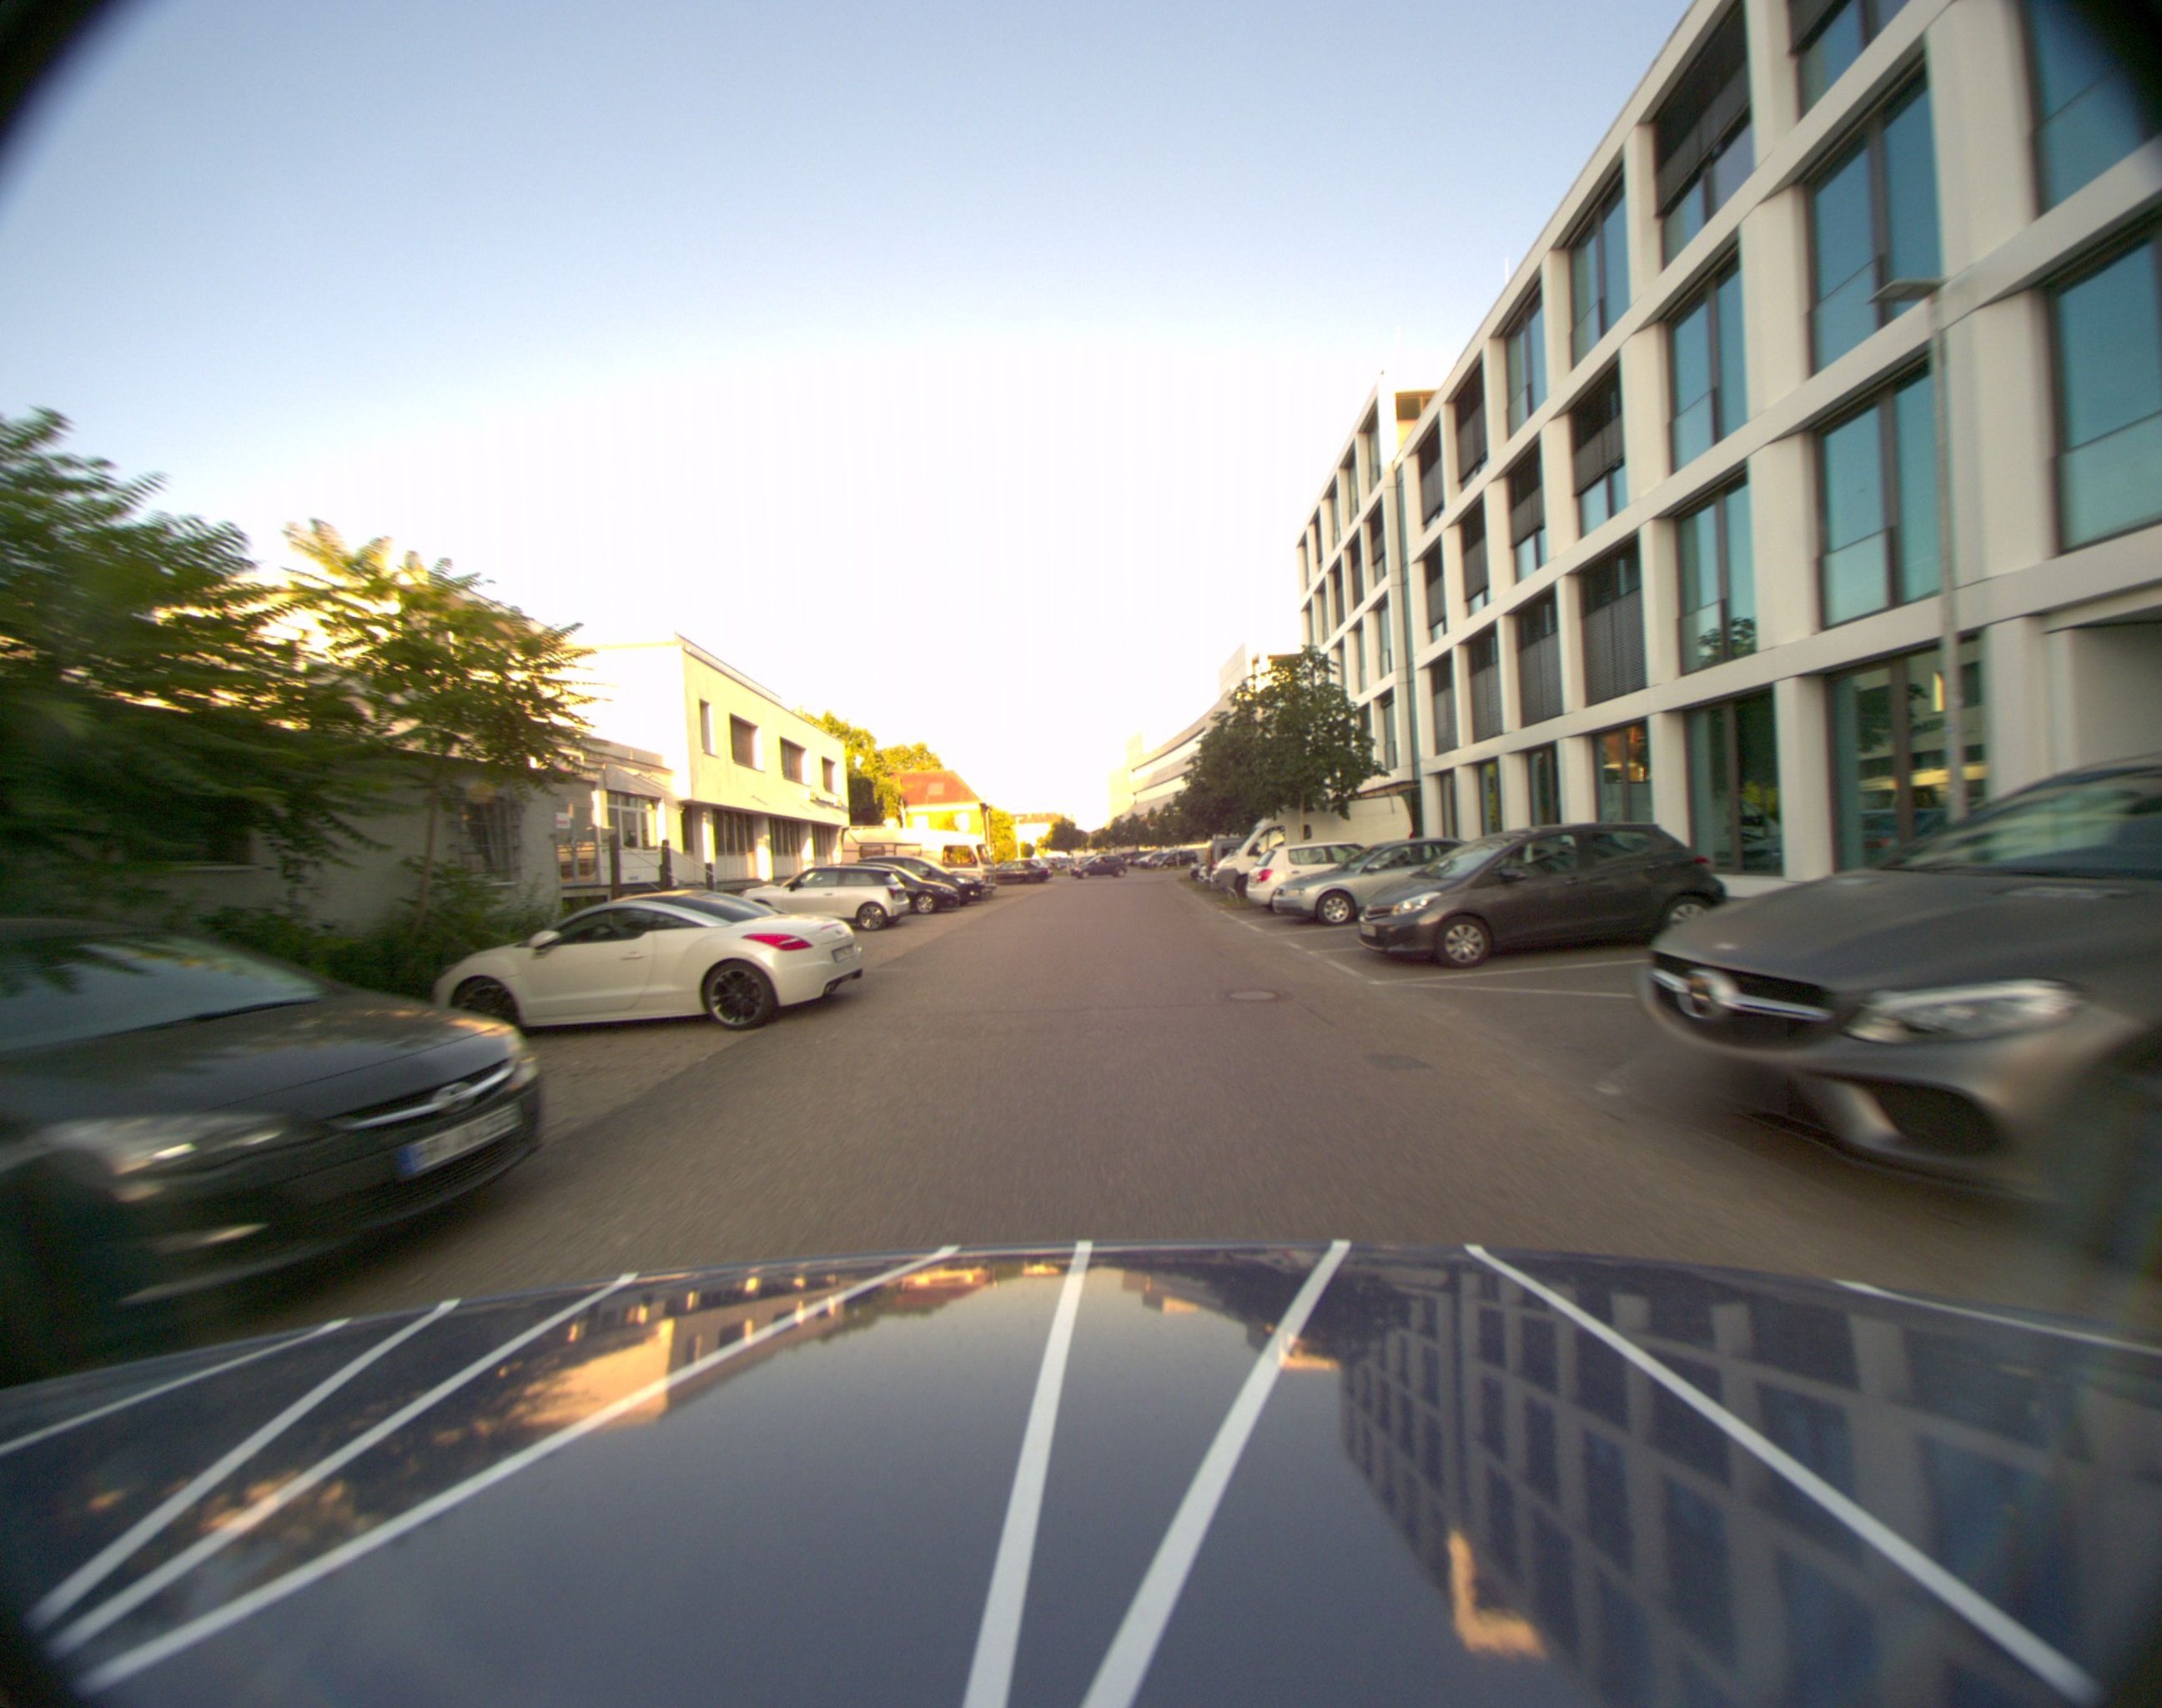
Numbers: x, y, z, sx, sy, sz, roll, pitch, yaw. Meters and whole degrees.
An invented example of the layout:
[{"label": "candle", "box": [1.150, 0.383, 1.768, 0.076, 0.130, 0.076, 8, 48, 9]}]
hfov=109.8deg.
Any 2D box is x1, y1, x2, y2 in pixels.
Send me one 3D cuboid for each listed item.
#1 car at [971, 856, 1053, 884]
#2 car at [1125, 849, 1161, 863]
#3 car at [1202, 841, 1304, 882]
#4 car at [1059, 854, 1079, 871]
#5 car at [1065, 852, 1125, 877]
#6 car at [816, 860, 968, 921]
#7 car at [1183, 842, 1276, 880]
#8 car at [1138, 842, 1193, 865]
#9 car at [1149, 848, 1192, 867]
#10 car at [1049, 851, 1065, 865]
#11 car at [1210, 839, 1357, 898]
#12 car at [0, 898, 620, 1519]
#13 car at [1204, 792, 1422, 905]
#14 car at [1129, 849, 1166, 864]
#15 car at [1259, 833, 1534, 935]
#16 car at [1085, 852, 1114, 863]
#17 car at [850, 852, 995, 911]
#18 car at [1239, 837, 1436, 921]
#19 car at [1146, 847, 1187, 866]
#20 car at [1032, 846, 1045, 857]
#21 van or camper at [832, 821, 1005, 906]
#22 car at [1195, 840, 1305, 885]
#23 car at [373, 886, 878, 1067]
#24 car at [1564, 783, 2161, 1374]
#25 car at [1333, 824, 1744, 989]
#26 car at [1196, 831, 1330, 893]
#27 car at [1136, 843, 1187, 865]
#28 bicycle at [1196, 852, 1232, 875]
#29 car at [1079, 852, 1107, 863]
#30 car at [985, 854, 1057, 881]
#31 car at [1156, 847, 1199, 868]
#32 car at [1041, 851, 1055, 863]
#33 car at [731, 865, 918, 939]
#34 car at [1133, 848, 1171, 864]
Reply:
[{"label": "car", "box": [-3.789, 0.896, 42.113, 4.326, 1.326, 1.896, -2, 1, -1]}, {"label": "car", "box": [7.214, 0.229, 88.403, 3.812, 1.353, 1.799, -5, 0, -4]}, {"label": "car", "box": [7.654, 0.324, 34.199, 4.118, 1.509, 1.845, -4, 0, 2]}, {"label": "car", "box": [-1.055, 0.750, 69.921, 1.680, 1.454, 4.368, -3, 0, 0]}, {"label": "car", "box": [0.962, 0.728, 52.020, 3.738, 1.486, 1.647, -3, 0, -14]}, {"label": "car", "box": [-5.454, 1.033, 22.287, 4.015, 1.554, 1.711, -2, 0, -3]}, {"label": "car", "box": [7.210, 0.345, 37.161, 4.118, 1.509, 1.845, -4, 0, 1]}, {"label": "car", "box": [8.464, -0.029, 76.118, 5.083, 1.870, 1.888, -5, 0, -4]}, {"label": "car", "box": [8.313, 0.311, 70.785, 3.654, 1.416, 1.726, -5, 0, 2]}, {"label": "car", "box": [-2.836, 0.433, 88.458, 1.770, 1.454, 4.367, -3, 0, -3]}, {"label": "car", "box": [6.383, 0.449, 24.256, 4.119, 1.491, 1.774, -4, 0, -1]}, {"label": "car", "box": [-4.574, 1.147, 3.040, 4.212, 1.494, 1.890, -4, 1, 3]}, {"label": "car", "box": [6.356, -0.134, 21.408, 5.393, 2.617, 2.079, -4, 0, 4]}, {"label": "car", "box": [7.472, 0.236, 85.820, 3.812, 1.353, 1.799, -5, 0, -4]}, {"label": "car", "box": [5.718, 0.535, 14.211, 4.317, 1.486, 1.795, -4, 0, 4]}, {"label": "car", "box": [2.814, 0.503, 114.233, 4.028, 1.340, 1.798, -5, 0, -9]}, {"label": "car", "box": [-5.215, 0.878, 25.322, 4.249, 1.731, 1.968, -2, 1, 6]}, {"label": "car", "box": [5.570, 0.528, 16.825, 3.716, 1.487, 1.708, -4, 0, 3]}, {"label": "car", "box": [8.246, 0.233, 73.430, 3.654, 1.416, 1.725, -5, 0, 1]}, {"label": "car", "box": [-5.971, -0.304, 107.850, 1.770, 1.454, 4.367, -3, 0, -3]}, {"label": "van or camper", "box": [-5.939, 0.328, 28.453, 5.795, 2.848, 2.486, -2, 1, 0]}, {"label": "car", "box": [6.951, 0.360, 31.615, 4.118, 1.509, 1.781, -4, 0, 2]}, {"label": "car", "box": [-4.562, 1.204, 8.023, 4.212, 1.359, 1.824, -4, 0, 5]}, {"label": "car", "box": [4.950, 0.530, 3.017, 4.628, 1.696, 2.005, -4, 0, 6]}, {"label": "car", "box": [5.236, 0.572, 9.084, 3.791, 1.513, 1.693, -4, 0, 1]}, {"label": "car", "box": [6.314, 0.279, 26.690, 4.119, 1.806, 1.816, -4, 0, -1]}, {"label": "car", "box": [8.540, -0.019, 81.086, 5.083, 1.816, 1.888, -5, 0, -4]}, {"label": "bicycle", "box": [6.816, 0.495, 39.089, 1.700, 1.059, 0.566, -4, 0, 3]}, {"label": "car", "box": [1.866, 0.527, 118.998, 4.028, 1.340, 1.798, -5, 0, -9]}, {"label": "car", "box": [-3.459, 0.793, 44.528, 4.066, 1.399, 1.896, -2, 0, -1]}, {"label": "car", "box": [8.637, 0.276, 68.194, 3.654, 1.538, 1.726, -5, 0, 2]}, {"label": "car", "box": [-4.337, 0.405, 100.294, 1.770, 1.454, 4.367, -3, 0, -3]}, {"label": "car", "box": [-5.873, 1.079, 17.735, 3.714, 1.470, 1.712, -2, 0, -1]}, {"label": "car", "box": [7.795, 0.236, 83.159, 3.812, 1.353, 1.799, -5, 0, -4]}]
